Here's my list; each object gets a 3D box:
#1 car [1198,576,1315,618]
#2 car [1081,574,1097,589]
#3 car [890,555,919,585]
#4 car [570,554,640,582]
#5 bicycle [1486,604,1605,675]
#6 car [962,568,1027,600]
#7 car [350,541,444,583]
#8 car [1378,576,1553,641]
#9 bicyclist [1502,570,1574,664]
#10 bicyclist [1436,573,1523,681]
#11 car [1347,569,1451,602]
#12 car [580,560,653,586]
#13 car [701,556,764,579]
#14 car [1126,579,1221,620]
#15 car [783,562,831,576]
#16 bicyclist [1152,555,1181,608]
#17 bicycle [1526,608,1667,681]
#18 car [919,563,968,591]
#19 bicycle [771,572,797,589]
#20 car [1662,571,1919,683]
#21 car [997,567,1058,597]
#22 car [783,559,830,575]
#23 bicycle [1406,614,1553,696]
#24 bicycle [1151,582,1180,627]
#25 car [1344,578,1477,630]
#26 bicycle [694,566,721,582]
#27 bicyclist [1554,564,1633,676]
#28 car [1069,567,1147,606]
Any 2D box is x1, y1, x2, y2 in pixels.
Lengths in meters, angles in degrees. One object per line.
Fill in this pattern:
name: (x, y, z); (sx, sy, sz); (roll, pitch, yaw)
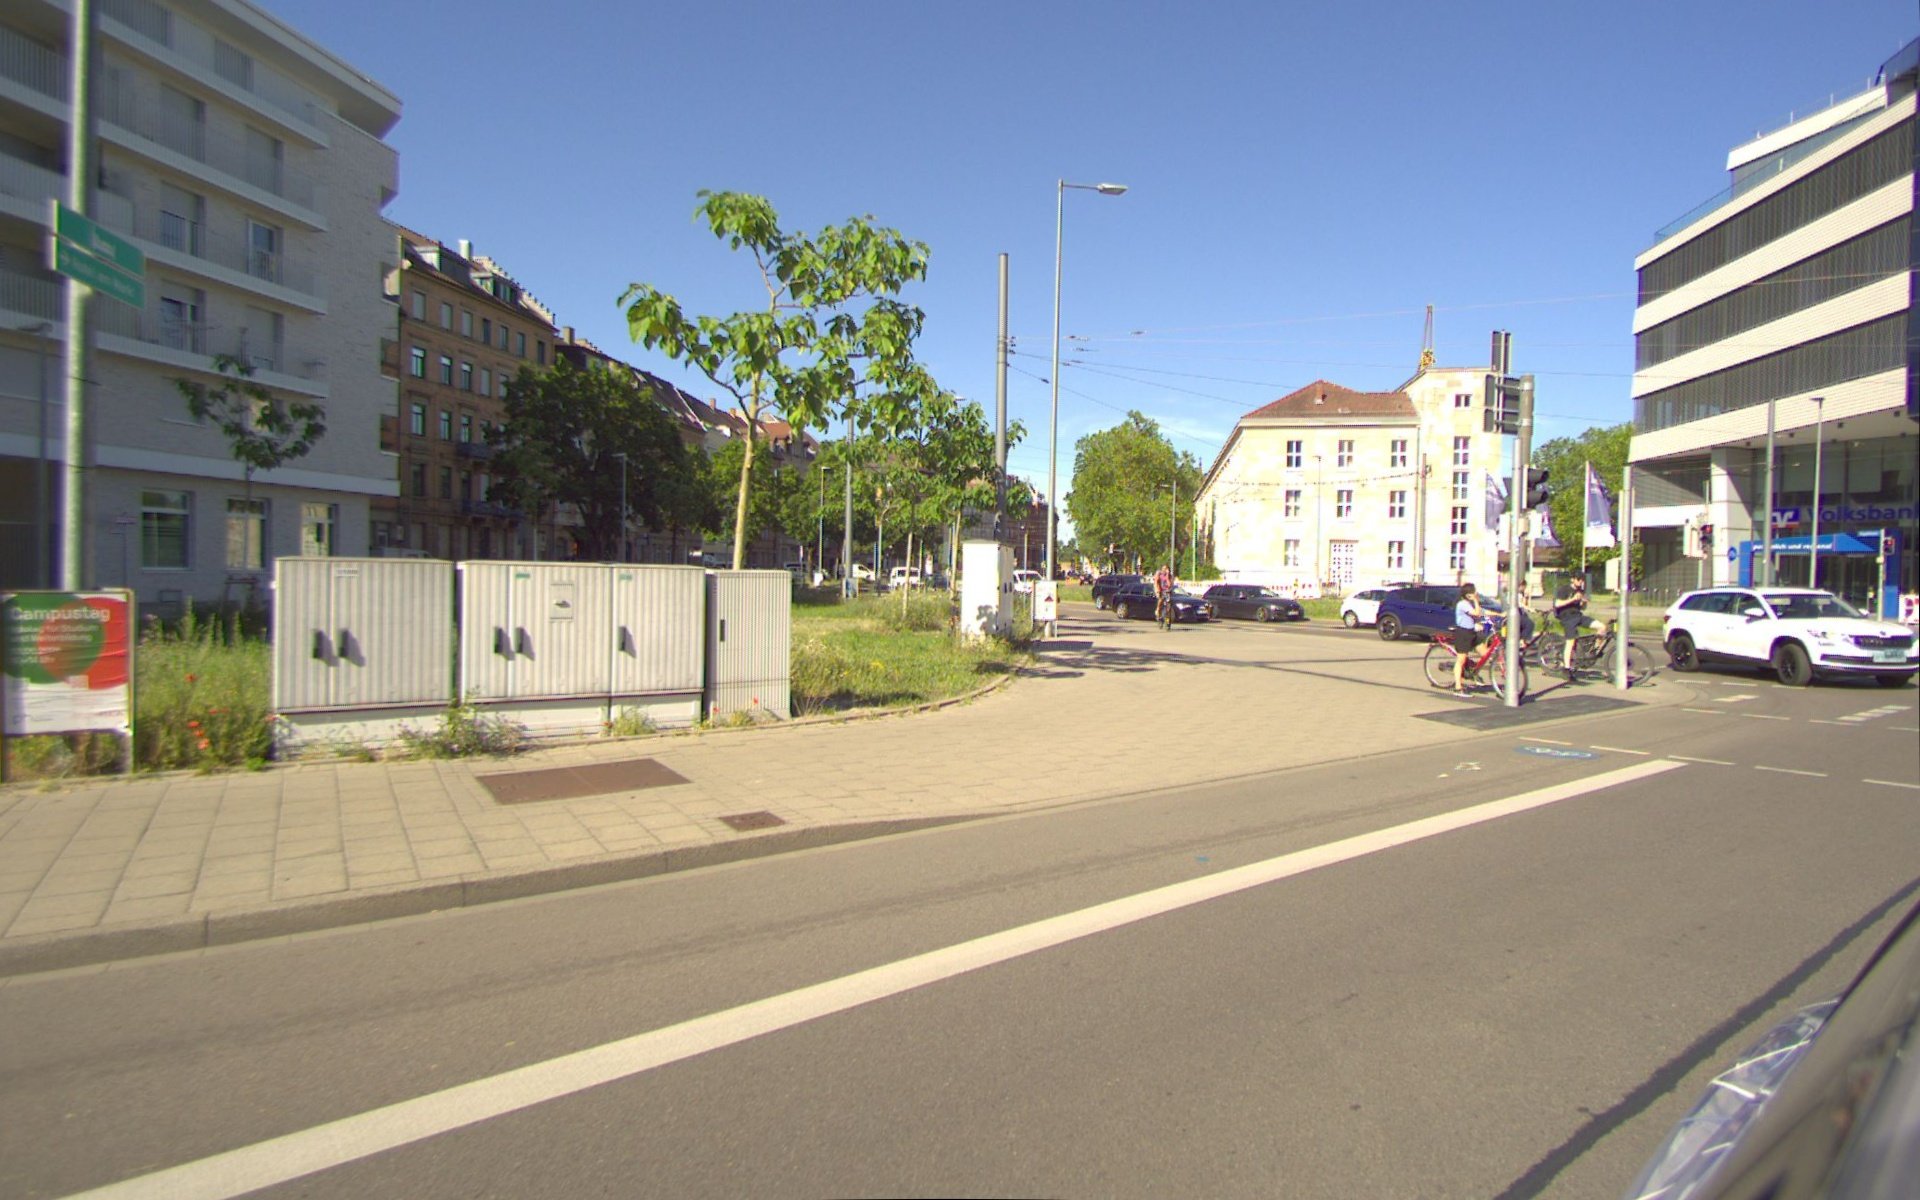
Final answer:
car: (11.499, -0.181, 39.568); (1.804, 1.448, 4.492); (-1, 3, -26)
car: (15.801, -2.327, 123.663); (1.741, 1.771, 3.991); (1, 2, 9)
car: (-3.817, -2.077, 69.504); (1.837, 2.006, 4.661); (1, 2, -5)
car: (-21.918, -1.973, 62.502); (3.917, 1.682, 2.004); (0, 2, -26)
bicycle: (10.914, 0.708, 18.947); (0.682, 1.118, 2.016); (3, 3, -12)
car: (1.721, -0.867, 52.390); (1.836, 1.575, 4.009); (0, 2, -23)
car: (-30.496, -2.061, 55.012); (1.969, 2.138, 4.628); (1, 2, 11)
car: (13.721, 0.165, 27.712); (1.836, 1.575, 4.008); (0, 2, -24)
bicyclist: (10.892, 0.302, 19.097); (0.583, 1.674, 1.006); (2, 2, -11)
bicyclist: (7.239, 0.360, 14.124); (0.578, 1.421, 0.829); (1, 2, -28)
car: (21.645, -0.739, 49.991); (1.967, 1.518, 4.300); (-1, 2, -44)
car: (-20.522, -1.622, 60.462); (3.917, 1.482, 2.004); (0, 2, -26)
car: (-18.237, -2.585, 81.091); (4.695, 1.793, 1.735); (0, 2, -26)
car: (8.134, -0.055, 38.838); (1.553, 1.451, 3.845); (0, 2, -24)
car: (-14.623, -2.994, 96.691); (4.308, 1.249, 2.005); (0, 2, -15)
bicyclist: (5.700, -0.516, 27.948); (0.686, 1.394, 0.736); (3, 2, 10)
bicycle: (10.682, 0.717, 17.063); (0.594, 1.050, 1.898); (1, 3, -32)
car: (-1.032, -1.361, 60.044); (1.835, 1.575, 4.010); (0, 2, -17)
bicycle: (-10.962, -1.243, 63.100); (0.565, 1.037, 1.739); (2, 2, 35)
car: (14.951, 0.372, 18.181); (1.841, 1.650, 4.336); (-1, 3, 3)
car: (3.755, -1.022, 57.018); (1.835, 1.575, 4.009); (0, 2, -22)
car: (-15.100, -3.208, 99.513); (4.308, 1.479, 2.005); (0, 2, -15)
bicycle: (7.237, 0.740, 14.179); (0.682, 0.966, 1.711); (1, 2, -27)
bicycle: (5.640, 0.095, 27.853); (0.686, 1.118, 2.006); (3, 2, 10)
car: (14.771, 0.078, 33.385); (1.636, 1.448, 3.842); (-3, 4, -27)
bicycle: (-17.197, -1.787, 68.870); (1.727, 1.037, 0.452); (1, 1, -2)
bicyclist: (10.679, 0.319, 17.080); (0.539, 1.820, 0.907); (1, 2, -32)
car: (7.051, -0.687, 48.758); (1.733, 1.705, 4.337); (-1, 3, -23)
